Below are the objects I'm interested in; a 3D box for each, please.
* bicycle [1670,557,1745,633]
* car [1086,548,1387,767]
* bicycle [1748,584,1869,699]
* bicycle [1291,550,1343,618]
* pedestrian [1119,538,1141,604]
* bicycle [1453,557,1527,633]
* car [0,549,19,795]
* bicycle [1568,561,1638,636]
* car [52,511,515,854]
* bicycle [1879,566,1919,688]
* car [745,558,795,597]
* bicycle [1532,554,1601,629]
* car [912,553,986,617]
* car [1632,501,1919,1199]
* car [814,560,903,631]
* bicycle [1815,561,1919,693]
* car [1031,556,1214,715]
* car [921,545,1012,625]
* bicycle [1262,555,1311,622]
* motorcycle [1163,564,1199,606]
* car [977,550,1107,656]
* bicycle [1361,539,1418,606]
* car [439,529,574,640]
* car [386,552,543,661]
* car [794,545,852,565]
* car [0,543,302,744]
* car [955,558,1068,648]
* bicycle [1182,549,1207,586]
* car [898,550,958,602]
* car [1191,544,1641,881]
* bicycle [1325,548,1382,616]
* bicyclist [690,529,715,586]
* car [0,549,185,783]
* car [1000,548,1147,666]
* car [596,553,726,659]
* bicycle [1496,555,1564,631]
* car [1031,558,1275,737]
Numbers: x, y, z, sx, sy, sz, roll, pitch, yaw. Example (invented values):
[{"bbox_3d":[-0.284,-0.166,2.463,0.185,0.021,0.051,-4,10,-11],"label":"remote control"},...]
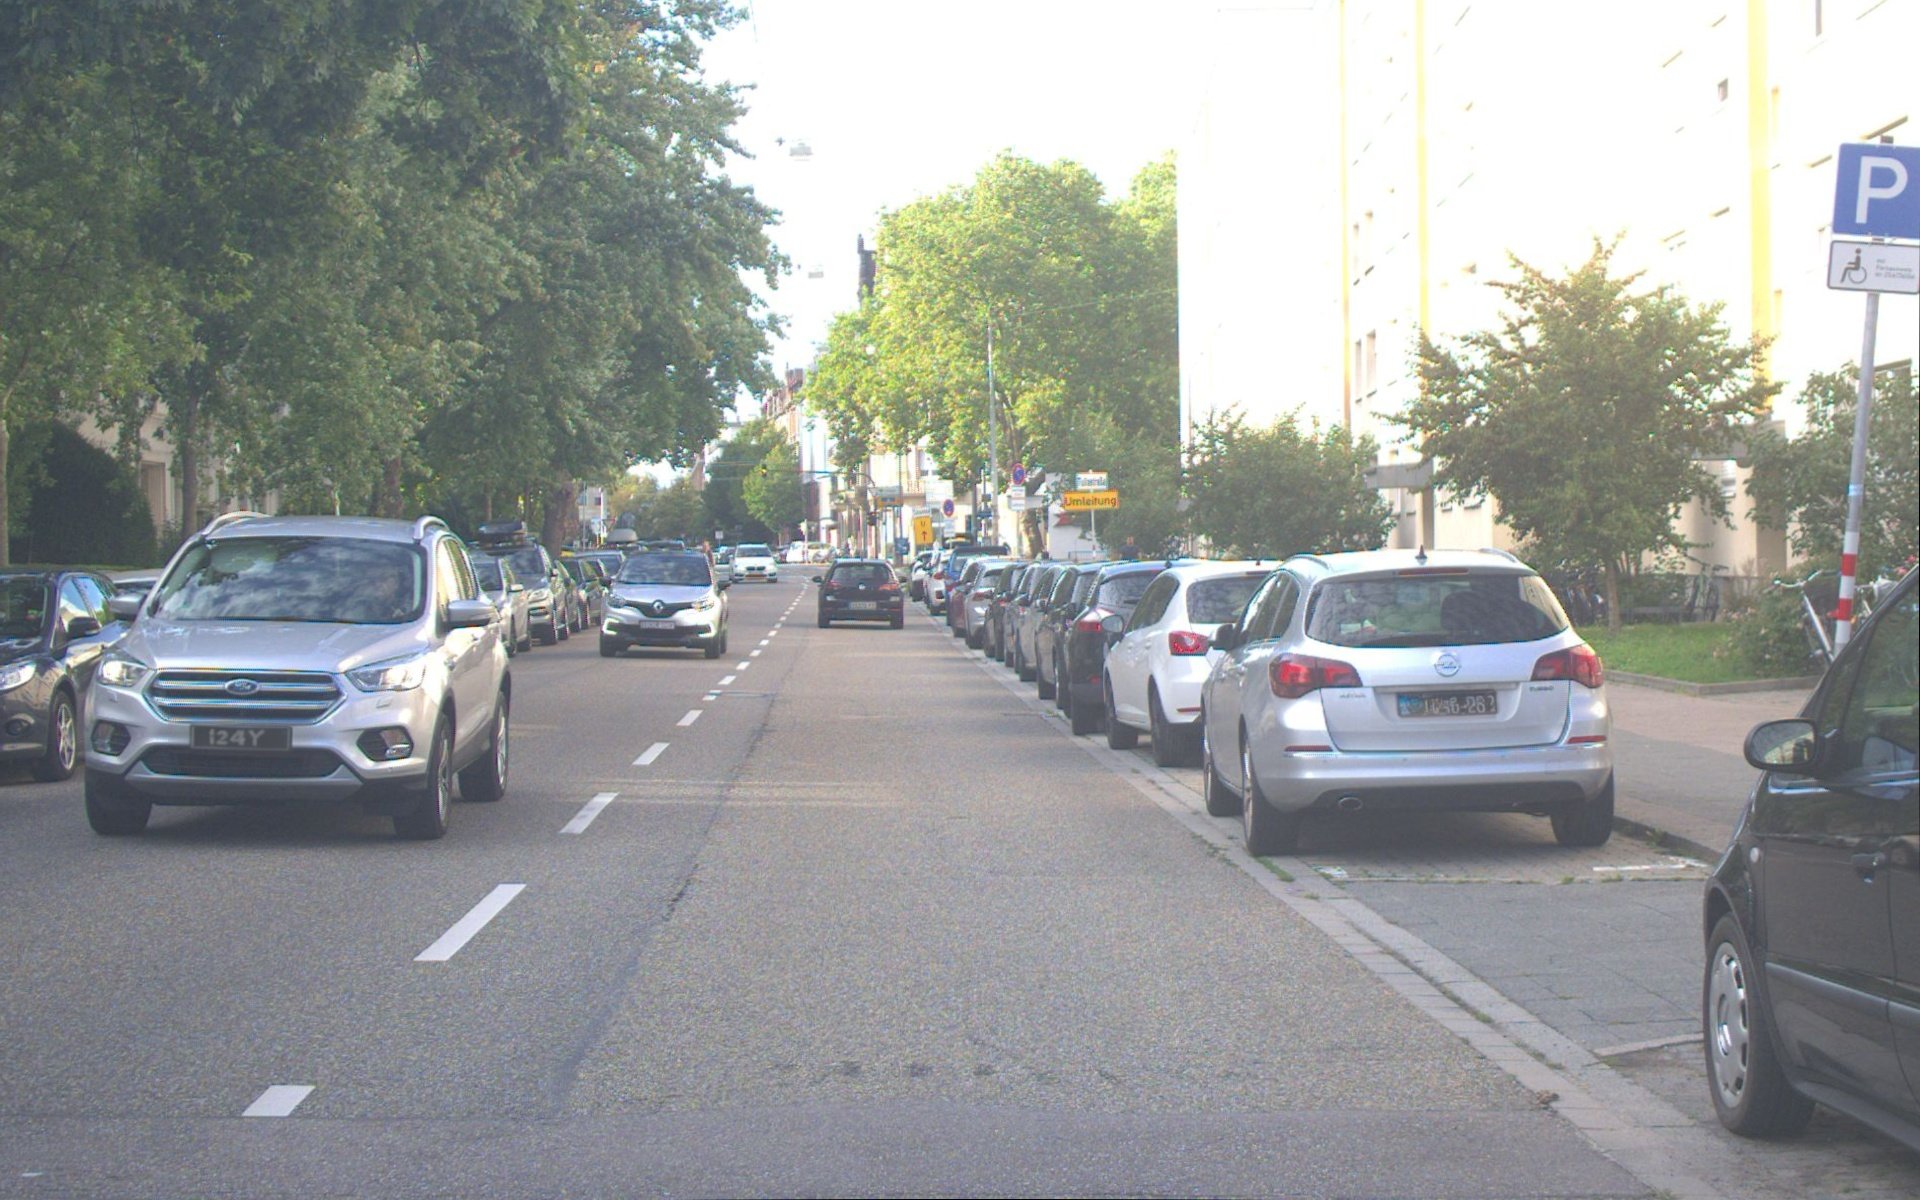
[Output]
[{"bbox_3d":[10.611,-0.080,48.864,0.501,1.027,2.135,-4,1,-1],"label":"bicycle"},{"bbox_3d":[1.991,0.363,25.886,1.683,1.463,4.207,-1,1,-3],"label":"car"},{"bbox_3d":[7.545,0.367,30.618,0.596,0.994,1.692,0,-1,-2],"label":"bicycle"},{"bbox_3d":[7.030,-0.328,67.797,0.595,1.286,2.635,-3,1,-2],"label":"bicycle"},{"bbox_3d":[4.445,-0.755,89.680,0.542,1.715,0.771,-1,1,4],"label":"pedestrian"},{"bbox_3d":[7.516,-0.077,48.834,0.593,1.027,2.119,-3,1,-2],"label":"bicycle"},{"bbox_3d":[-6.663,0.505,18.898,1.820,1.481,4.369,-3,1,-1],"label":"car"},{"bbox_3d":[9.146,-0.032,48.959,0.501,1.027,2.026,-3,1,-2],"label":"bicycle"},{"bbox_3d":[-3.594,0.378,18.964,1.829,1.663,4.085,-1,1,-2],"label":"car"},{"bbox_3d":[8.665,0.231,30.476,0.521,1.071,1.591,-2,-1,-2],"label":"bicycle"},{"bbox_3d":[-7.669,-0.907,139.356,1.859,1.523,4.011,0,1,-1],"label":"car"},{"bbox_3d":[8.627,-0.129,48.963,0.501,1.027,2.069,-3,1,-2],"label":"bicycle"},{"bbox_3d":[-0.283,-0.388,84.393,1.728,1.482,4.642,-1,1,-1],"label":"car"},{"bbox_3d":[2.740,0.571,7.454,1.673,1.597,3.970,-1,1,-1],"label":"car"},{"bbox_3d":[-2.133,-0.112,71.347,1.751,1.409,4.001,0,1,-3],"label":"car"},{"bbox_3d":[8.100,0.240,30.678,0.445,1.133,1.591,-2,-1,-2],"label":"bicycle"},{"bbox_3d":[1.632,0.320,35.580,1.683,1.496,3.874,-1,1,0],"label":"car"},{"bbox_3d":[0.109,-0.342,74.110,1.728,1.644,4.117,-1,1,-3],"label":"car"},{"bbox_3d":[6.424,-0.239,67.804,0.604,1.286,2.635,-2,1,-2],"label":"bicycle"},{"bbox_3d":[5.518,-0.382,85.863,0.630,1.041,2.394,-1,1,-3],"label":"motorcycle"},{"bbox_3d":[1.199,0.021,51.764,1.661,1.486,3.942,-2,1,-2],"label":"car"},{"bbox_3d":[8.471,-0.551,67.897,0.726,1.286,2.635,0,1,-2],"label":"bicycle"},{"bbox_3d":[-7.879,-0.308,60.126,1.877,1.787,4.971,-3,1,-3],"label":"car"},{"bbox_3d":[-7.767,0.071,54.275,1.855,1.568,4.460,-2,1,-1],"label":"car"},{"bbox_3d":[-9.797,-3.216,245.535,3.986,1.415,2.001,-1,1,-9],"label":"car"},{"bbox_3d":[-7.045,0.315,29.705,1.855,1.481,4.799,-4,1,-2],"label":"car"},{"bbox_3d":[0.837,0.023,58.056,1.661,1.411,4.059,-2,1,-2],"label":"car"},{"bbox_3d":[7.180,-0.998,105.244,0.529,1.111,2.209,-1,1,-2],"label":"bicycle"},{"bbox_3d":[-0.958,-0.746,104.852,1.690,1.523,4.238,2,1,1],"label":"car"},{"bbox_3d":[2.262,0.486,18.120,1.763,1.518,4.330,-1,1,0],"label":"car"},{"bbox_3d":[7.755,-0.369,67.818,0.726,1.286,2.635,-1,1,-2],"label":"bicycle"},{"bbox_3d":[-7.216,-1.189,96.368,0.641,1.595,0.990,-1,1,-2],"label":"bicyclist"},{"bbox_3d":[-6.878,0.398,24.320,1.855,1.481,4.684,-1,1,-2],"label":"car"},{"bbox_3d":[1.492,0.060,46.649,1.683,1.480,4.294,-1,1,-2],"label":"car"},{"bbox_3d":[-4.415,0.056,51.249,1.740,1.496,4.010,-1,1,-3],"label":"car"},{"bbox_3d":[8.106,-0.110,48.954,0.501,1.027,2.096,-3,1,-2],"label":"bicycle"},{"bbox_3d":[1.658,0.369,30.797,1.683,1.430,4.207,-1,1,-3],"label":"car"}]
